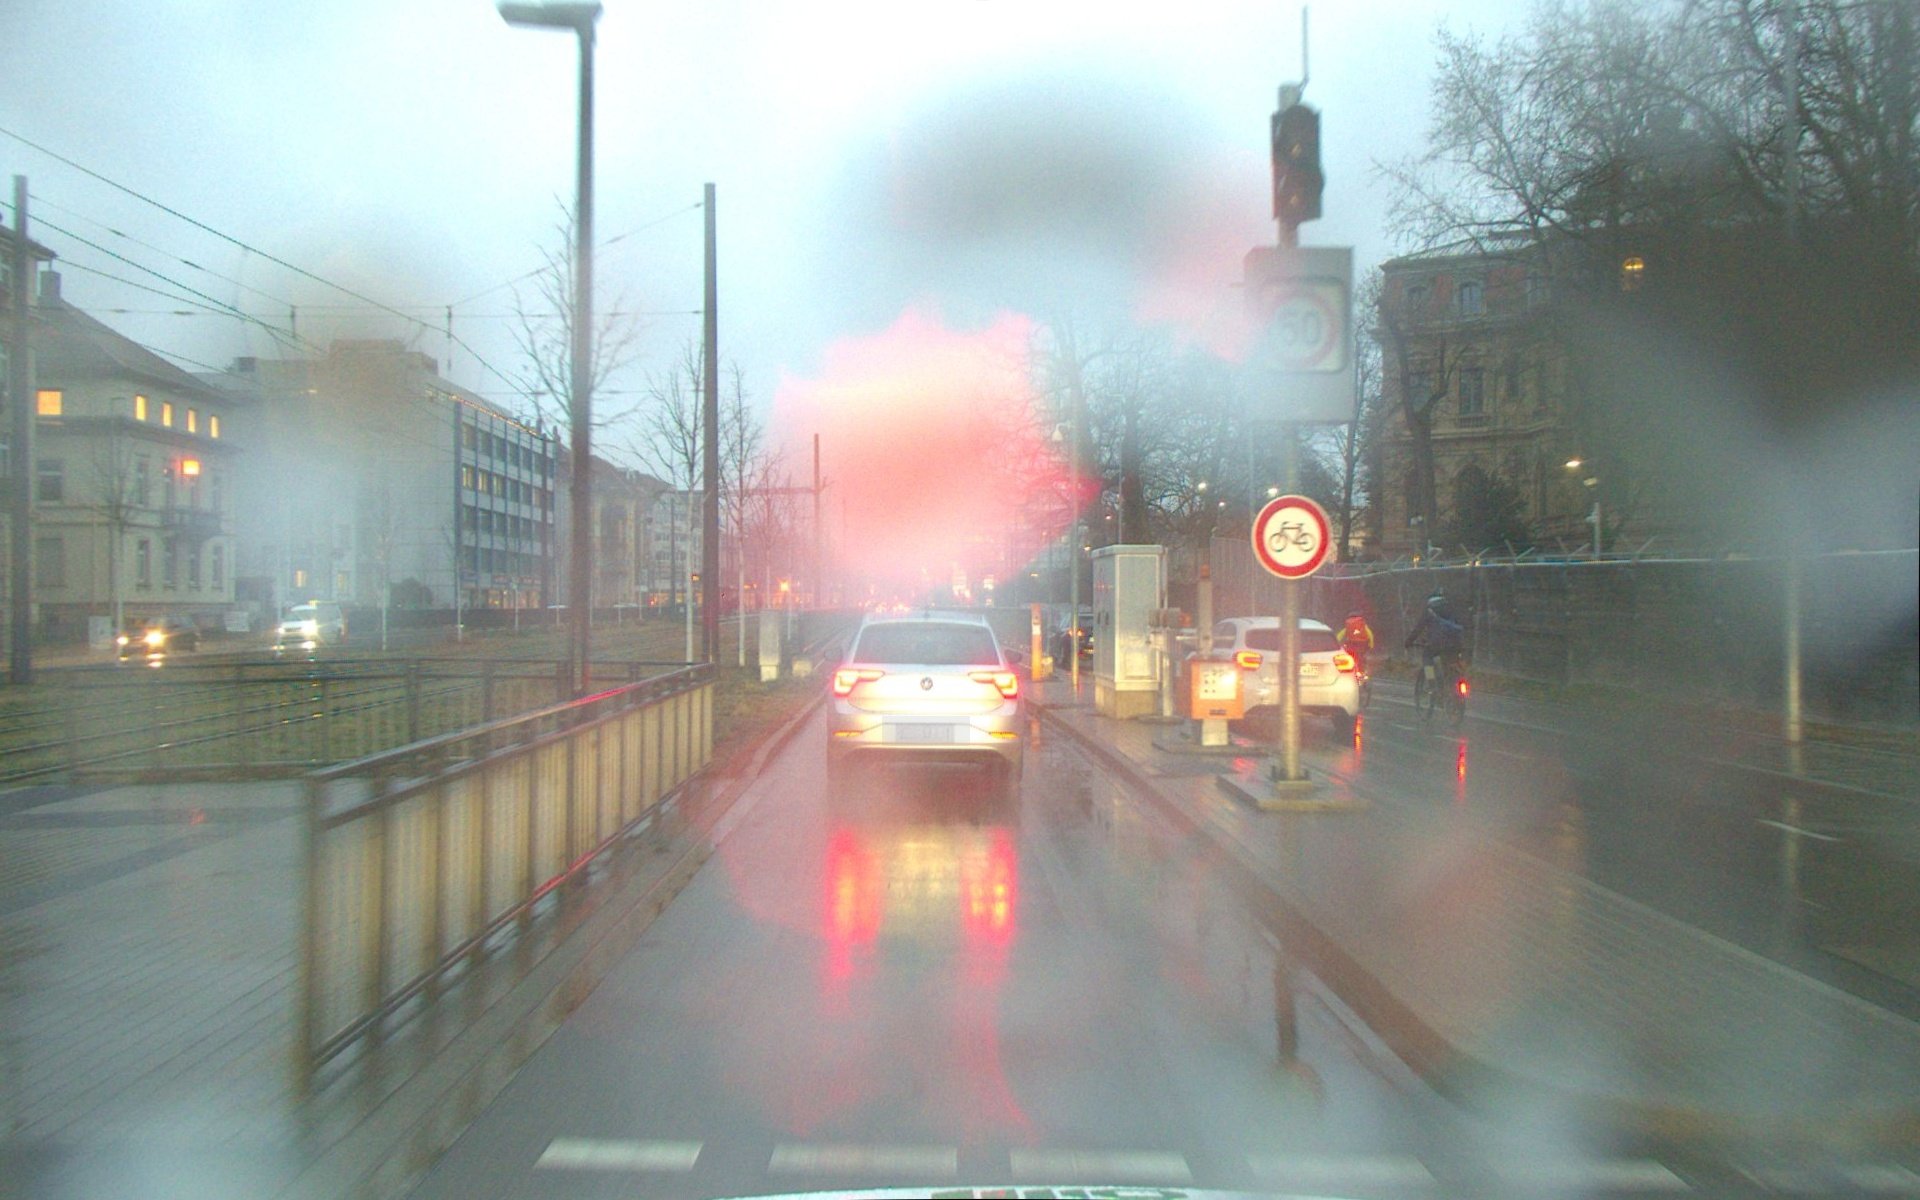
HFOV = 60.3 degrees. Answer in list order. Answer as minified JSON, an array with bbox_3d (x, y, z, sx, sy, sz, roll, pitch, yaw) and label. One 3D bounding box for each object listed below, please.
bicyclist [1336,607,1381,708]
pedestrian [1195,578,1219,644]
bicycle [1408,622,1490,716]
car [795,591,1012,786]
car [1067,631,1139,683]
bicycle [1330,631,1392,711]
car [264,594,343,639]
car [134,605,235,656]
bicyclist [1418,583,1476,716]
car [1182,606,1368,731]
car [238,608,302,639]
[{"bbox_3d":[6.519,0.924,27.087,0.490,1.619,0.836,0,0,-4],"label":"bicyclist"},{"bbox_3d":[7.238,0.307,48.510,0.521,1.912,0.900,-1,0,-4],"label":"pedestrian"},{"bbox_3d":[6.711,0.918,22.781,0.403,1.206,2.027,0,0,-4],"label":"bicycle"},{"bbox_3d":[-0.476,0.743,15.208,1.687,1.505,3.999,2,-1,-1],"label":"car"},{"bbox_3d":[3.958,1.564,46.244,1.590,1.322,3.999,2,-1,-1],"label":"car"},{"bbox_3d":[6.529,1.139,26.992,0.403,1.206,1.947,0,0,-4],"label":"bicycle"},{"bbox_3d":[-30.033,0.723,75.868,1.954,1.967,4.907,-1,0,-4],"label":"car"},{"bbox_3d":[-27.943,1.069,59.725,1.954,1.722,4.108,-1,0,-4],"label":"car"},{"bbox_3d":[6.724,0.670,22.865,0.490,1.798,0.836,0,0,-4],"label":"bicyclist"},{"bbox_3d":[4.185,0.882,22.536,1.687,1.505,3.999,2,-1,-1],"label":"car"},{"bbox_3d":[-34.346,1.155,82.389,1.771,1.461,3.924,-1,0,-4],"label":"car"}]
